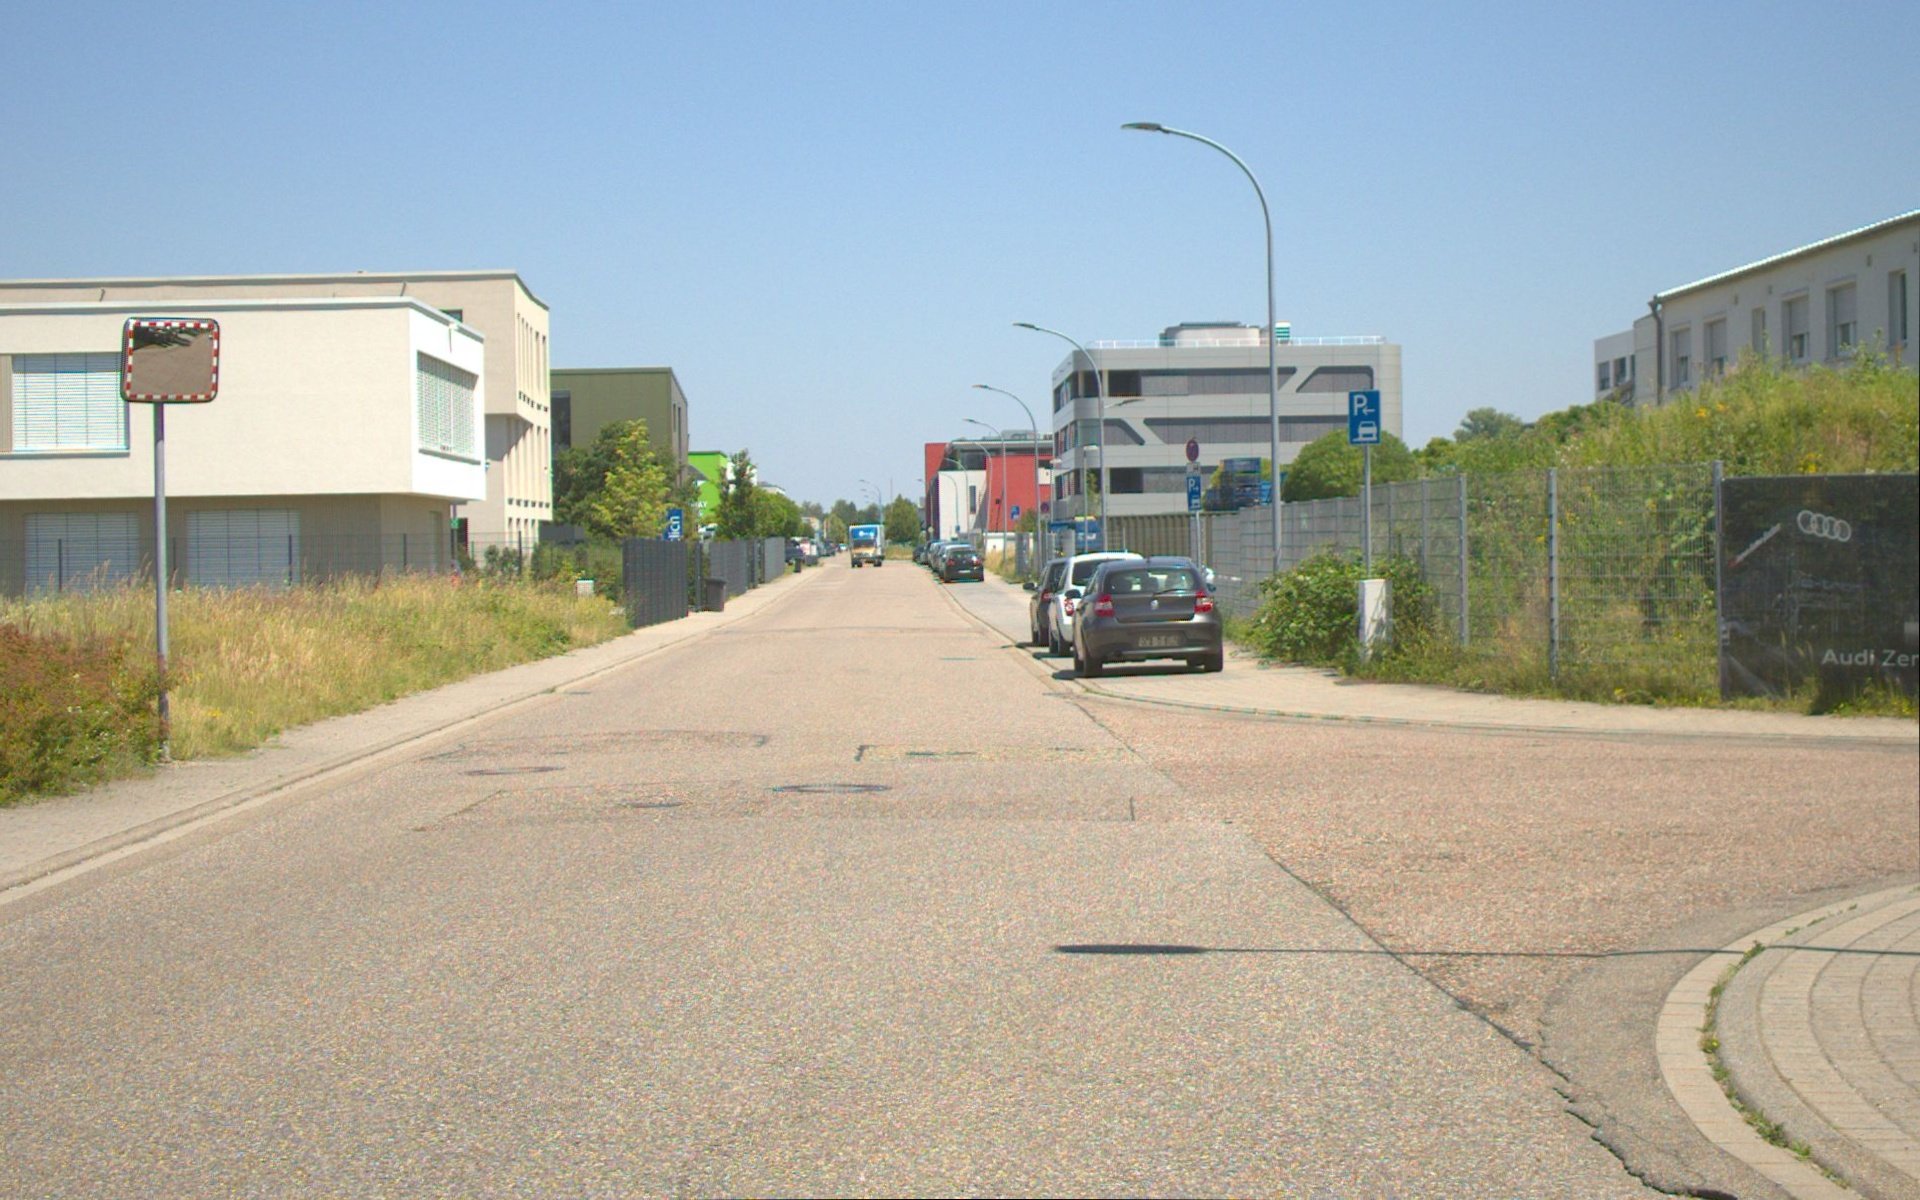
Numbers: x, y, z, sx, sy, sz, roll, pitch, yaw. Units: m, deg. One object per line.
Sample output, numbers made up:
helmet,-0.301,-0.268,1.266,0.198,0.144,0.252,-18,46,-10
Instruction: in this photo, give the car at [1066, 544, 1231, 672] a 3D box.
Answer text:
car,2.326,0.066,43.269,1.908,1.443,4.000,-2,1,2

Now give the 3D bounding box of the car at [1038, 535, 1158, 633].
car,2.330,-0.304,58.530,1.908,1.541,4.000,-2,1,2

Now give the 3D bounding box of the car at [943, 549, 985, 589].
car,0.186,-1.395,154.095,1.776,1.722,4.000,1,1,-1

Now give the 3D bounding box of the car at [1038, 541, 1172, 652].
car,2.174,-0.082,52.179,1.908,1.541,4.000,-2,1,2
